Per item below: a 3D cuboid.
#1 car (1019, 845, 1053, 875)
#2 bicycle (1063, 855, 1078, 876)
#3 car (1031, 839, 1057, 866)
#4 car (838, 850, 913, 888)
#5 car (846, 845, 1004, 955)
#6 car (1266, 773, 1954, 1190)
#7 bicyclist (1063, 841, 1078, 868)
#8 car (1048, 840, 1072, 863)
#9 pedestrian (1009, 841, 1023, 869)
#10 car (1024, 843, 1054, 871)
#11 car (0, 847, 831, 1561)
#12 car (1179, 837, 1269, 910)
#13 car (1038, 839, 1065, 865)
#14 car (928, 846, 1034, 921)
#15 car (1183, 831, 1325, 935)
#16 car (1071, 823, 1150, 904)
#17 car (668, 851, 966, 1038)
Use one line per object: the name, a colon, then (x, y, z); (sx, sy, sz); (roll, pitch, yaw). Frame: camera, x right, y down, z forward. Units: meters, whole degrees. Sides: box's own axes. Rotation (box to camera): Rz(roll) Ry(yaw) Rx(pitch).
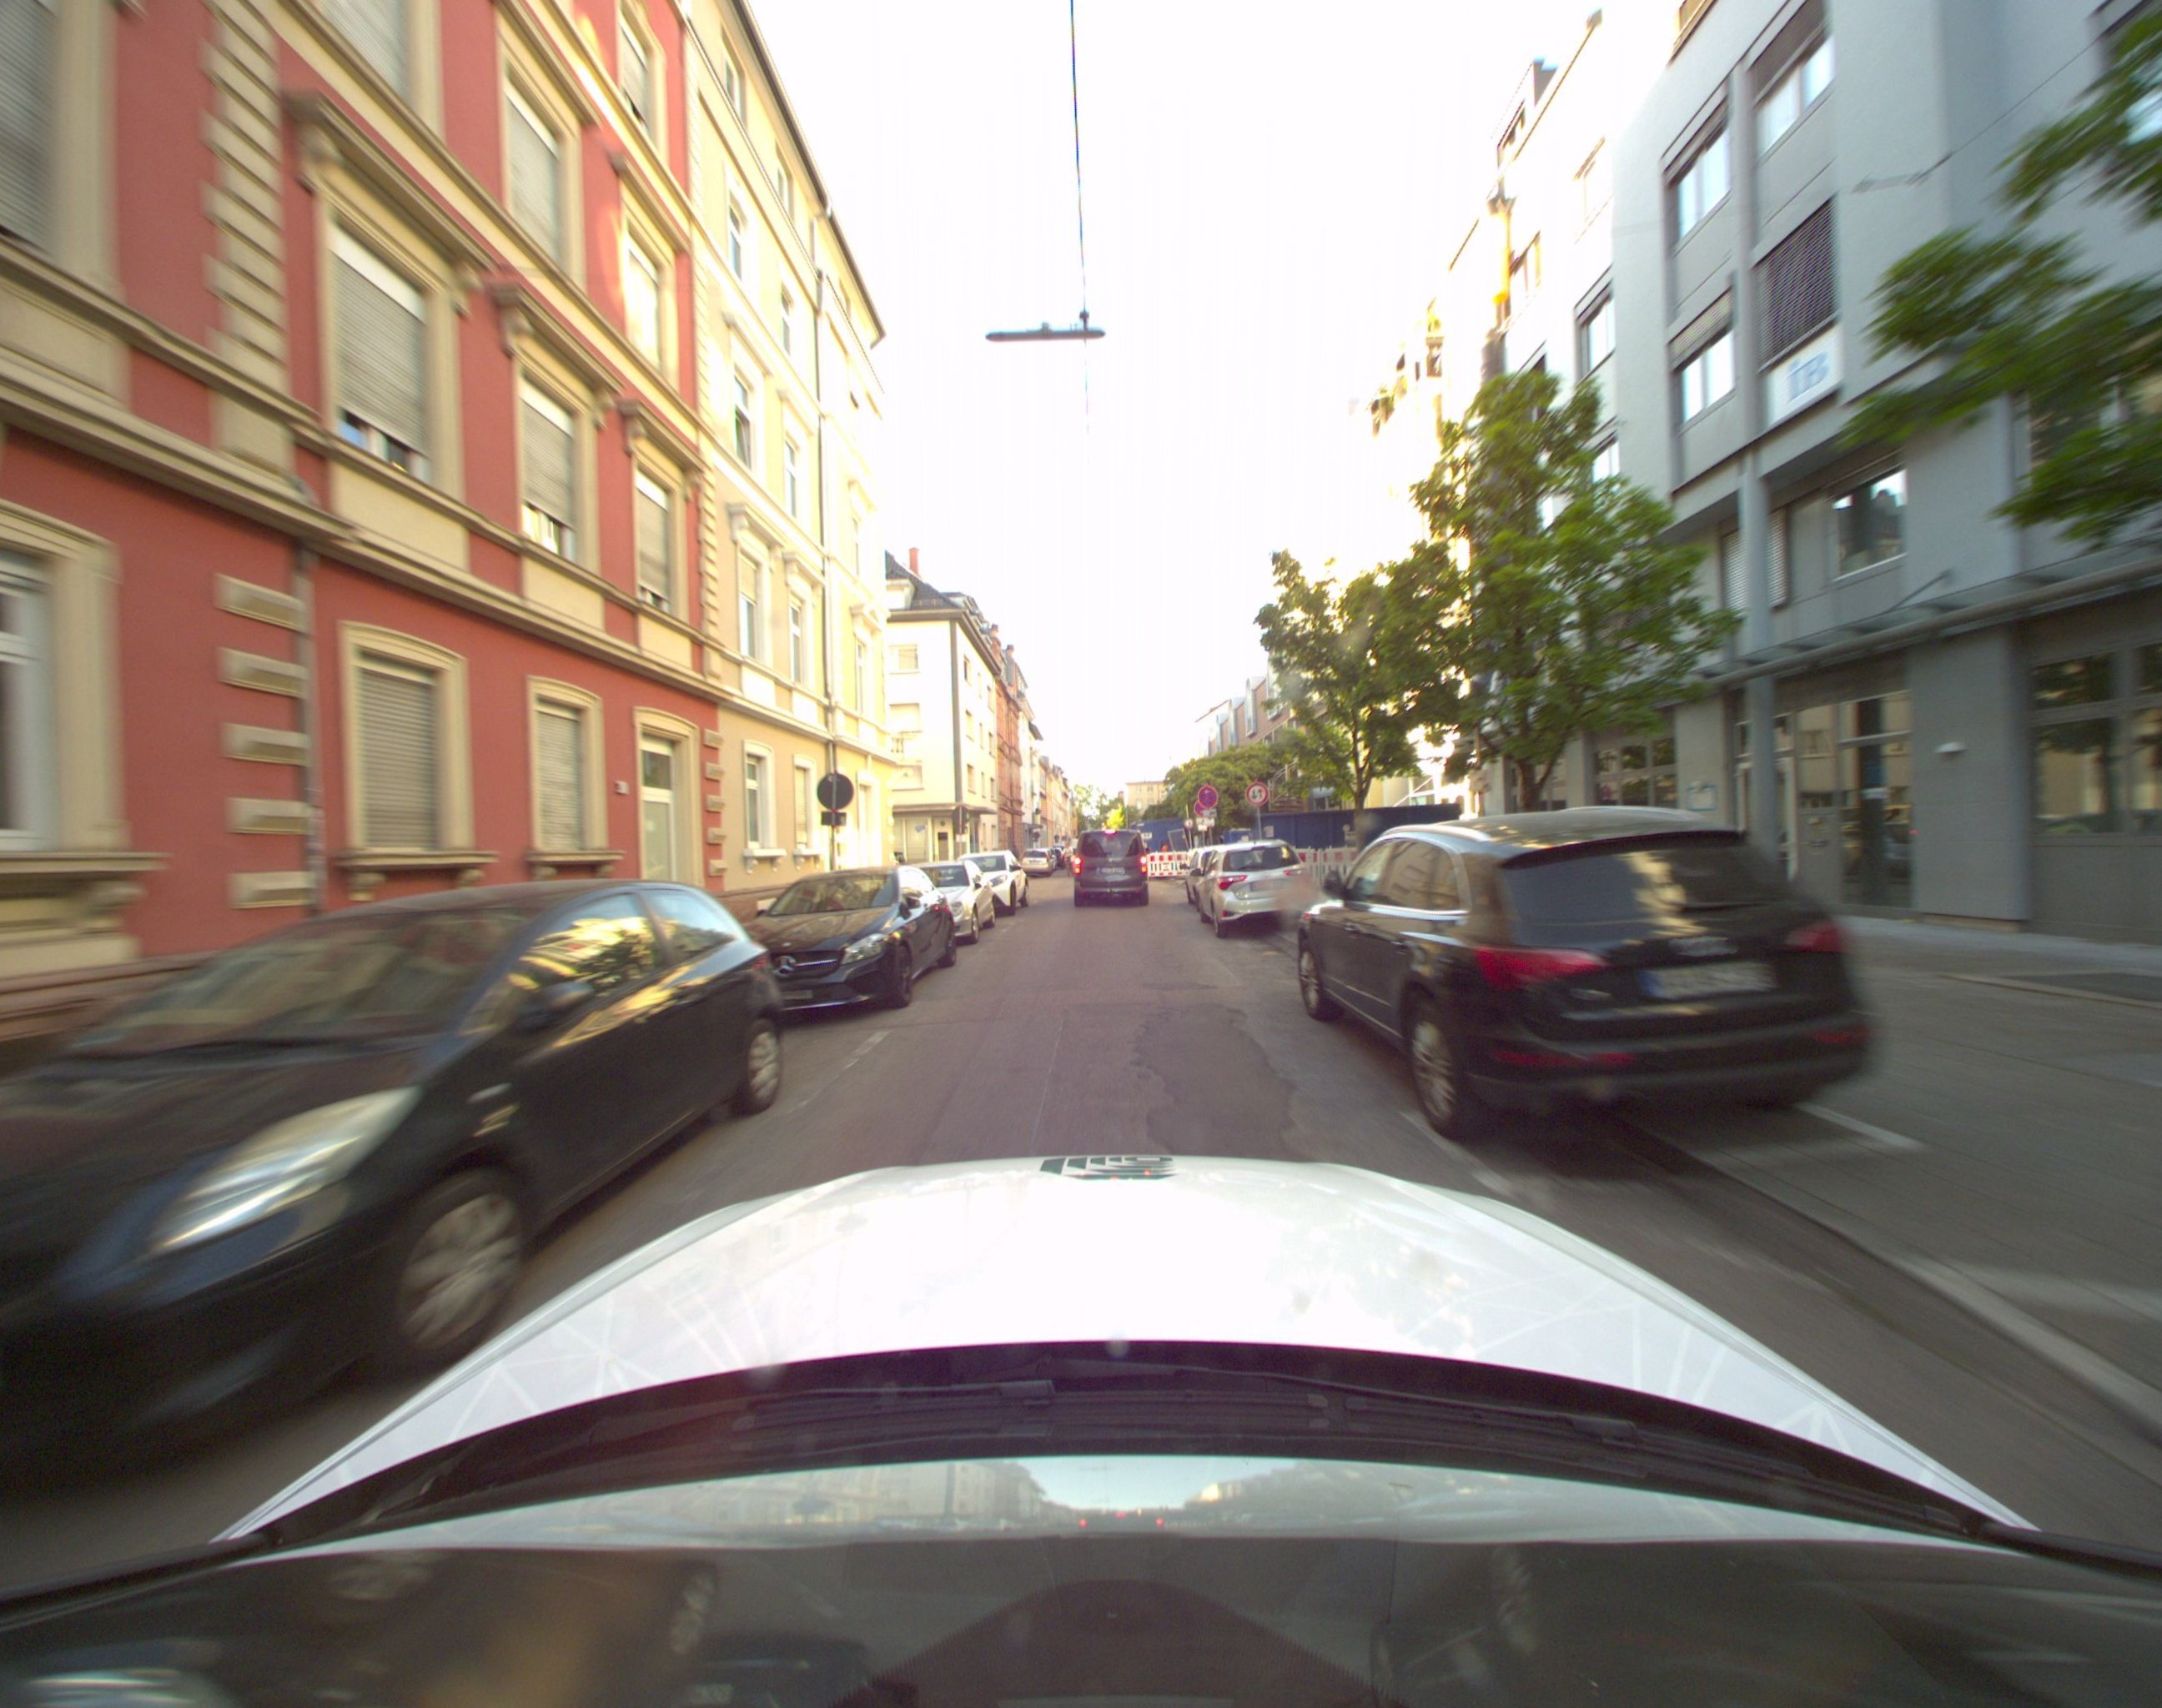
car: (-2.375, 0.330, 43.372); (1.652, 1.460, 3.415); (2, 0, -2)
bicycle: (-0.539, 0.565, 42.297); (0.730, 1.027, 2.115); (-1, 0, 1)
car: (-2.545, -0.098, 55.815); (1.662, 1.666, 3.089); (2, 0, -2)
car: (-8.826, 0.624, 35.107); (2.776, 1.540, 1.594); (-1, 0, 1)
car: (-2.639, 0.698, 14.867); (1.914, 1.560, 4.267); (-4, 1, 1)
car: (2.710, 0.516, 5.618); (1.878, 1.622, 4.436); (-4, 0, 2)
bicyclist: (-0.544, 0.013, 42.355); (0.730, 1.412, 0.940); (-1, 0, 0)
car: (-1.748, -0.208, 68.812); (1.887, 1.846, 4.345); (2, 0, -2)
pedestrian: (-3.892, 0.055, 48.767); (0.738, 1.664, 0.703); (-2, 0, -3)
car: (-2.470, 0.179, 48.704); (1.652, 1.525, 3.415); (2, 0, -2)
car: (-2.901, 0.835, 3.973); (1.894, 1.560, 4.241); (-4, 1, 1)
car: (3.321, 0.394, 19.482); (1.669, 1.475, 3.734); (-4, 0, 4)
car: (-2.147, -0.138, 59.446); (1.887, 1.719, 3.751); (2, 0, -2)
car: (-2.349, 0.631, 20.269); (1.914, 1.507, 4.268); (-4, 1, 1)
car: (2.955, 0.439, 14.758); (1.671, 1.525, 3.970); (-4, 0, 0)
car: (0.844, 0.221, 21.604); (1.857, 1.886, 4.239); (-1, 0, 3)
car: (-2.668, 0.801, 9.443); (1.914, 1.483, 4.267); (-4, 1, 1)
